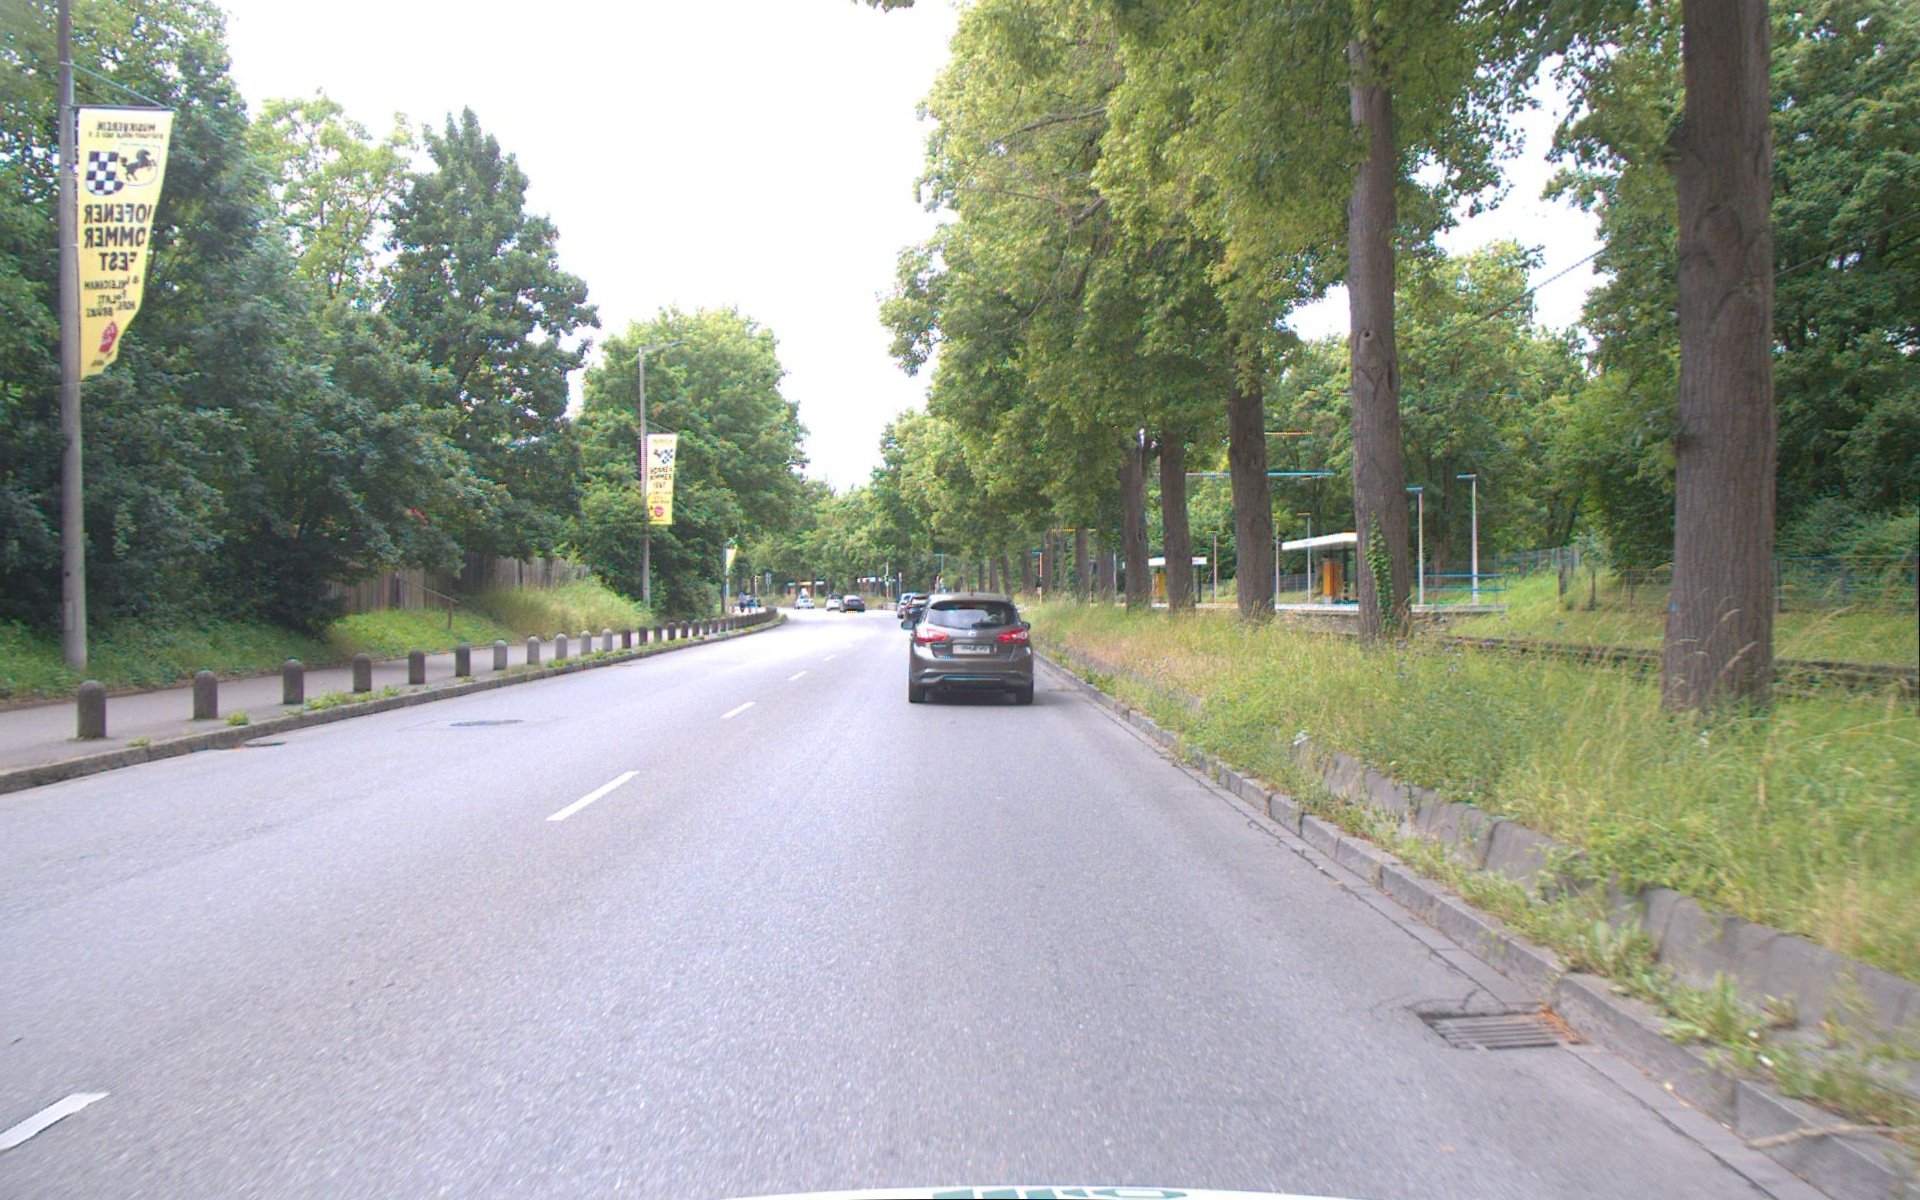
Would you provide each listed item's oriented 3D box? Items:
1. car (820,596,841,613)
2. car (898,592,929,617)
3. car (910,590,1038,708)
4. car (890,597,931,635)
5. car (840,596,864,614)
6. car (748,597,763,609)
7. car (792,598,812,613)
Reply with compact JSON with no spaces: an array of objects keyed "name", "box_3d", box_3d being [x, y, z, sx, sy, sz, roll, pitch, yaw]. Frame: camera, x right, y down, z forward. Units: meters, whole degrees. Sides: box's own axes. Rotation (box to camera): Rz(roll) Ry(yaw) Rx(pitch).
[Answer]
[{"name":"car","box_3d":[-12.044,0.418,153.871,1.534,1.466,3.541,1,0,-12]},{"name":"car","box_3d":[-2.824,0.248,99.615,1.531,1.466,3.546,1,0,-7]},{"name":"car","box_3d":[0.141,0.642,23.918,1.695,1.564,3.550,1,0,-2]},{"name":"car","box_3d":[-2.157,0.672,72.135,1.695,1.564,3.550,1,0,-2]},{"name":"car","box_3d":[-9.062,0.425,138.770,1.534,1.466,3.541,1,0,-12]},{"name":"car","box_3d":[-25.903,0.394,209.383,1.533,1.466,3.542,1,0,-11]},{"name":"car","box_3d":[-16.781,0.568,176.034,1.536,1.466,3.537,1,0,-15]}]
